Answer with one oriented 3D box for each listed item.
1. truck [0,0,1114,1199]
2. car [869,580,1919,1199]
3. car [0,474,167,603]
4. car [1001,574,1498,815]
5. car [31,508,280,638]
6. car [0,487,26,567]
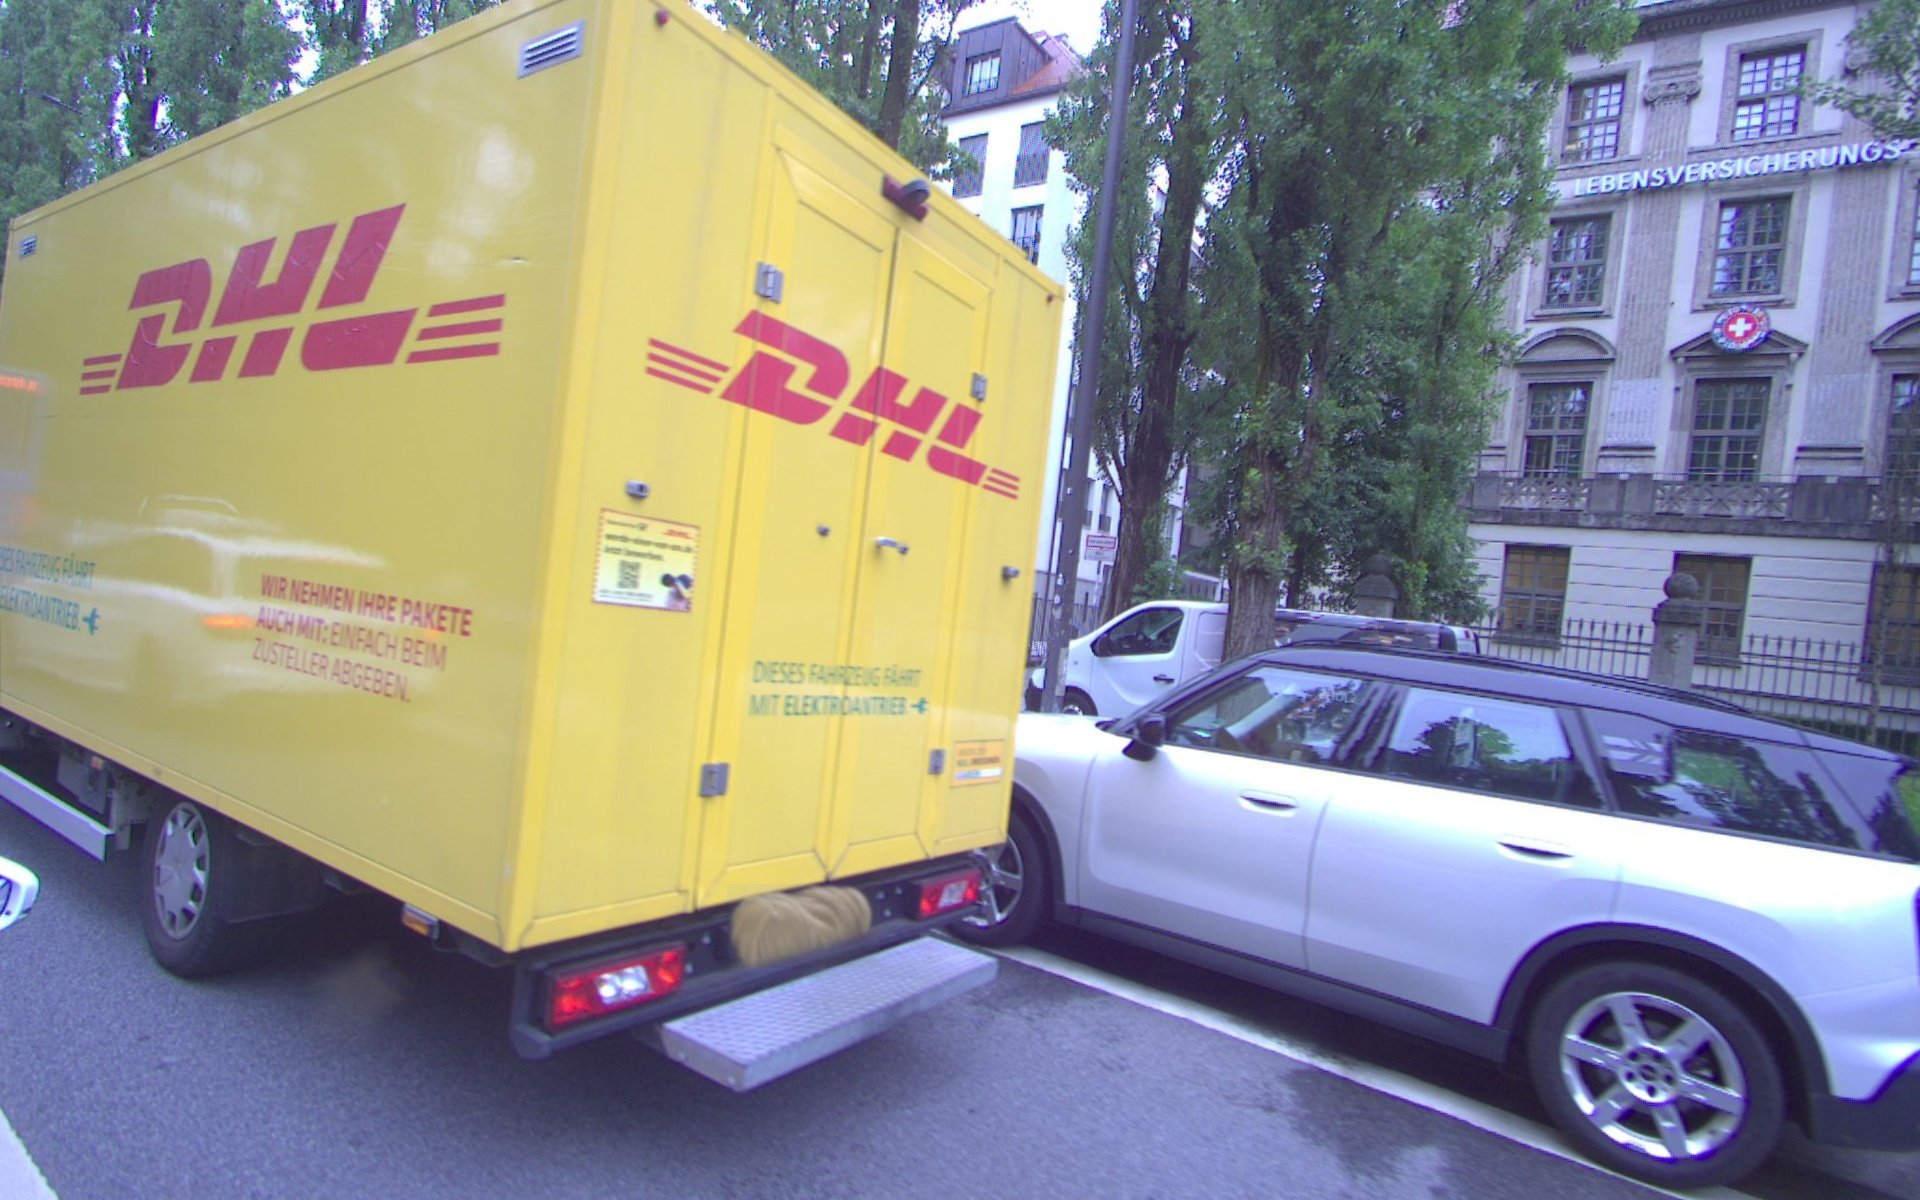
[{"bbox_3d":[-3.150,-0.338,5.084,7.216,2.934,2.329,7,0,34],"label":"truck"},{"bbox_3d":[1.800,0.986,4.644,4.081,1.600,1.783,7,-2,35],"label":"car"},{"bbox_3d":[-15.863,-1.135,17.582,4.163,1.794,1.836,7,-2,34],"label":"car"},{"bbox_3d":[3.328,0.965,12.123,5.239,1.949,1.995,7,0,34],"label":"car"},{"bbox_3d":[-11.516,-0.420,14.330,3.938,1.370,1.747,7,0,37],"label":"car"},{"bbox_3d":[-21.724,-1.771,21.508,4.023,1.614,1.679,7,-1,35],"label":"car"}]
